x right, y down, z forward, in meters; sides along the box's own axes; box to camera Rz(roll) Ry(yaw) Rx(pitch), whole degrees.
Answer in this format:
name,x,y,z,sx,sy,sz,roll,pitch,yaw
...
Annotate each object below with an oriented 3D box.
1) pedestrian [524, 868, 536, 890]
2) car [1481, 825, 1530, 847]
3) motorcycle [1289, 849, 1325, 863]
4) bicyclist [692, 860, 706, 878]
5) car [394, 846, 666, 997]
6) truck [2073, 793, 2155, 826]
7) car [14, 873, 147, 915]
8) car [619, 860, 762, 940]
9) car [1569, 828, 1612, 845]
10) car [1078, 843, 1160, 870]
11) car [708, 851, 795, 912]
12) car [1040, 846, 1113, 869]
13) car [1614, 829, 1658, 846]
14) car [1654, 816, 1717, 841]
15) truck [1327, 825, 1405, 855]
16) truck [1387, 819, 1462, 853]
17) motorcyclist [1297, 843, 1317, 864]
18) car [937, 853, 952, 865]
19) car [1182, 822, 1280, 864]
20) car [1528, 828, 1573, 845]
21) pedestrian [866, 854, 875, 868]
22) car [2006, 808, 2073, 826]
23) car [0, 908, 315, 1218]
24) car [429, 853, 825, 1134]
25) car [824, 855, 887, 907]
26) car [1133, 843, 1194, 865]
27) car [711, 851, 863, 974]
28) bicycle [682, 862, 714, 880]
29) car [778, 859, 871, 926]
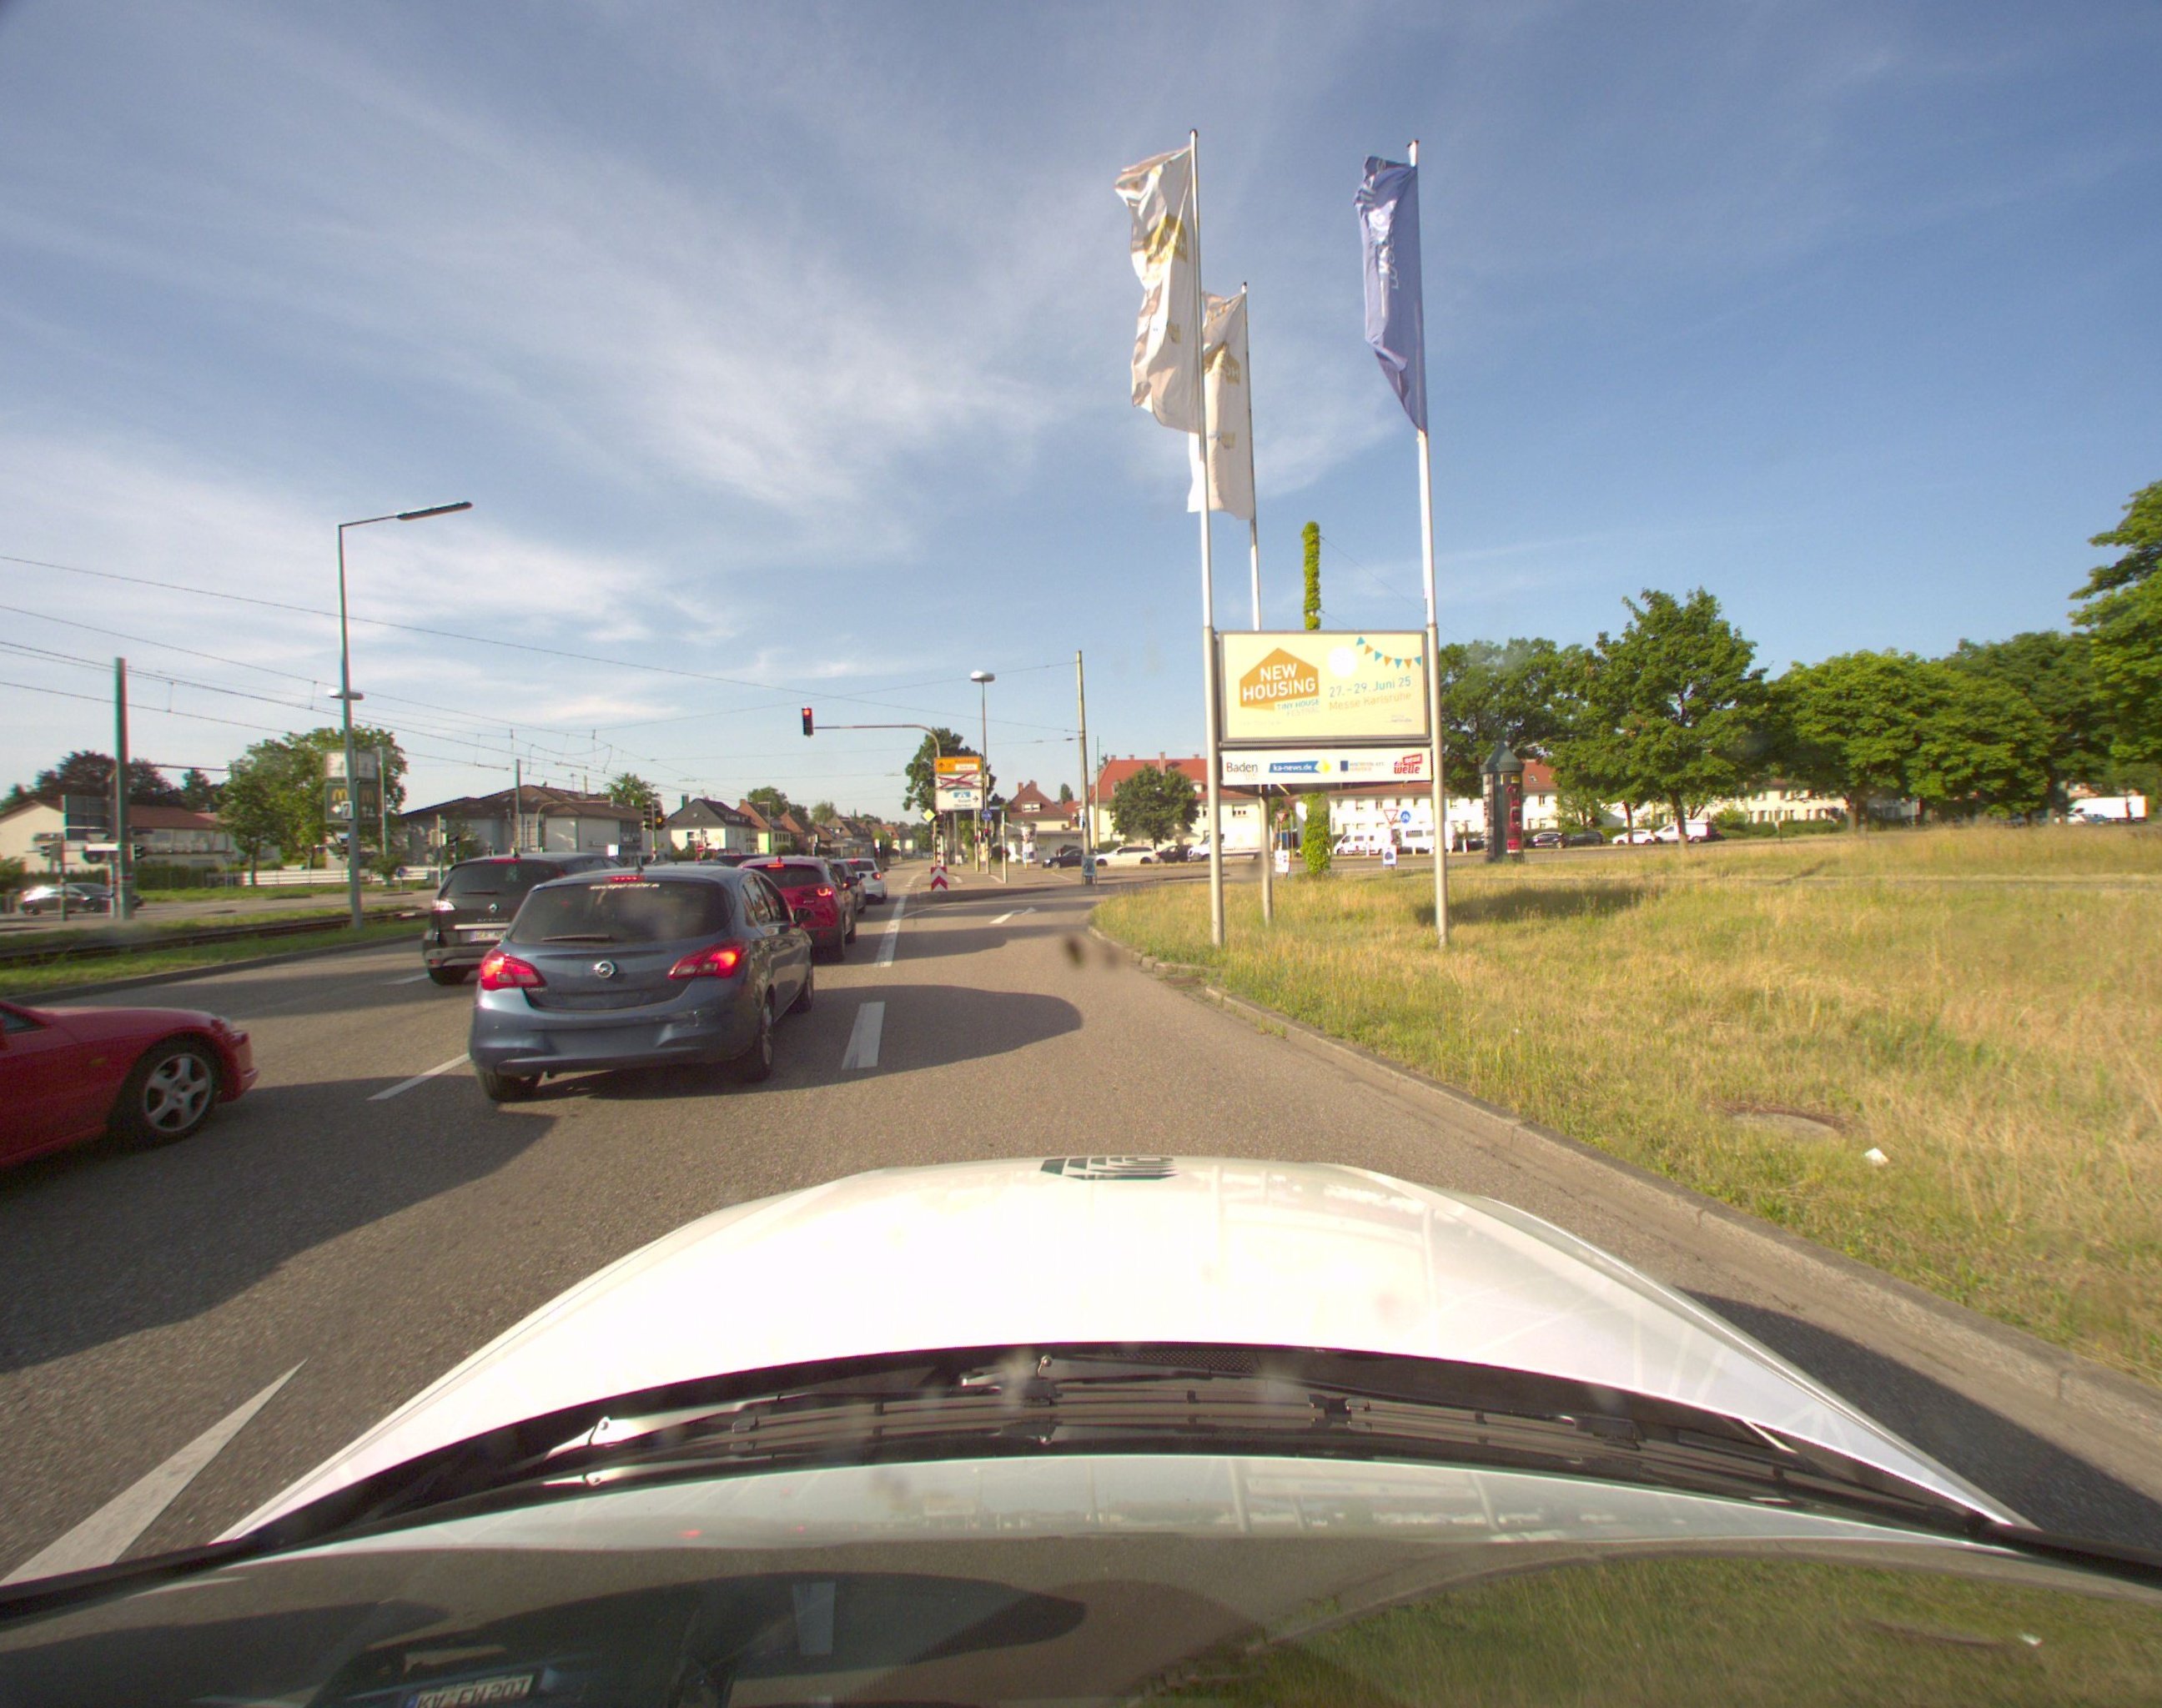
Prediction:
name,x,y,z,sx,sy,sz,roll,pitch,yaw
pedestrian,-41.232,1.849,60.928,0.511,1.599,0.538,-2,0,-9
car,40.791,-1.691,78.269,3.858,1.920,1.908,-2,0,34
motorcycle,15.397,0.103,55.512,2.272,0.866,0.688,-2,0,-12
bicyclist,-29.467,1.152,62.795,0.887,1.431,1.129,0,-1,-19
car,-7.363,0.758,11.426,1.765,1.670,4.066,-2,0,-13
truck,118.797,-5.056,93.757,5.434,3.464,2.013,-2,0,29
car,-48.092,1.913,39.224,3.986,1.793,1.515,-2,0,-9
car,-8.742,0.930,18.680,1.699,1.508,4.539,-1,0,-9
car,50.398,-1.752,80.616,3.388,1.513,1.908,-2,0,38
car,2.490,0.174,53.790,5.095,1.563,1.834,-2,0,-10
car,-10.207,0.776,25.565,1.507,1.651,4.727,-2,1,-10
car,-0.331,0.254,57.000,4.824,1.411,1.710,-2,0,-10
car,54.674,-1.625,80.261,3.388,1.513,1.908,-2,0,38
car,60.570,-2.579,81.763,4.915,2.232,2.013,-2,0,34
truck,25.830,-1.279,74.066,6.278,2.524,2.291,-1,1,45
truck,31.854,-1.612,75.629,6.000,2.854,1.908,-2,0,33
motorcyclist,15.395,-0.034,55.507,1.066,1.352,0.677,-2,0,-11
car,-16.585,0.602,99.007,1.674,1.398,3.987,-1,-1,-10
car,10.145,-0.725,55.269,6.209,2.583,1.993,-2,0,-11
car,44.946,-1.662,77.998,3.454,1.513,1.908,-2,0,38
pedestrian,-21.415,0.713,82.724,0.752,1.499,0.825,-1,-1,-8
car,107.308,-4.156,91.273,4.481,1.723,2.013,-2,0,36
car,-5.489,0.969,3.278,1.732,1.206,3.831,0,0,-12
car,-3.260,0.784,6.840,1.744,1.505,4.204,-2,1,-13
car,-7.092,0.805,25.914,1.658,1.443,3.997,-2,0,-12
car,5.873,-0.003,58.028,3.987,1.453,1.710,-2,0,-10
car,-4.442,0.764,12.845,1.708,1.551,3.960,-2,0,-13
bicycle,-29.511,1.307,62.784,2.081,1.348,1.101,-1,-1,-20
car,-6.197,0.860,20.049,1.642,1.397,3.814,-2,0,-10
